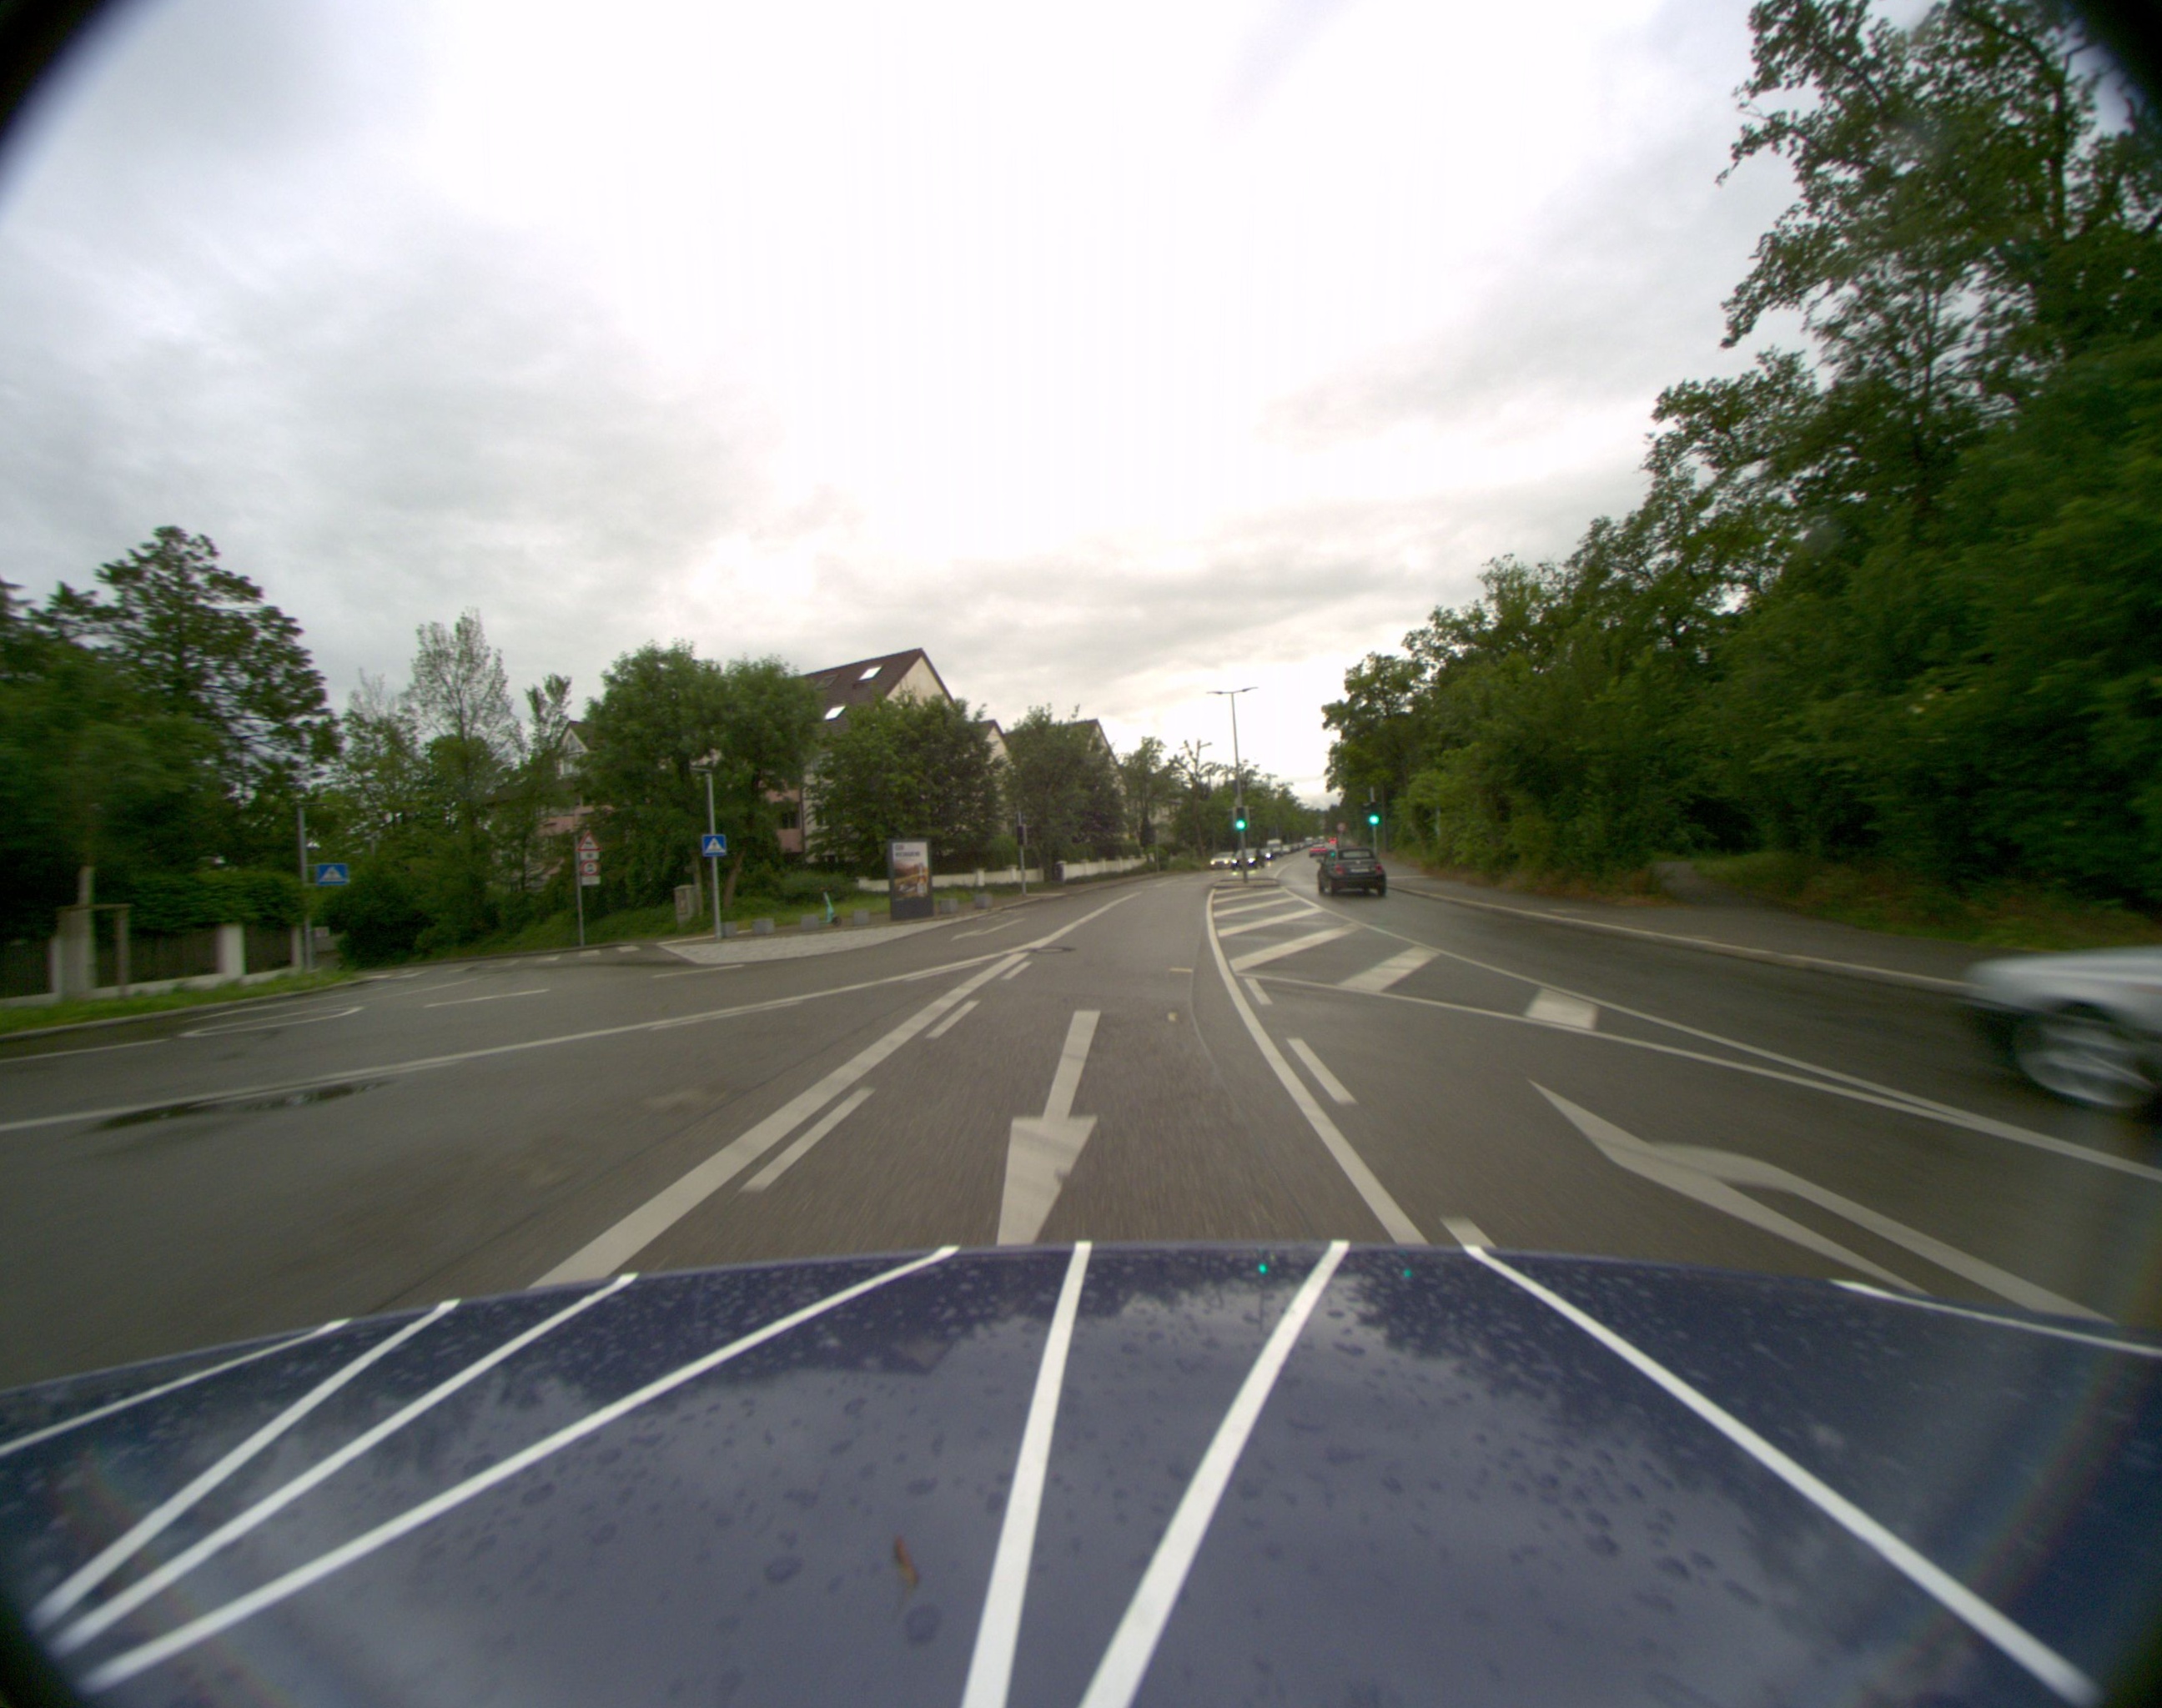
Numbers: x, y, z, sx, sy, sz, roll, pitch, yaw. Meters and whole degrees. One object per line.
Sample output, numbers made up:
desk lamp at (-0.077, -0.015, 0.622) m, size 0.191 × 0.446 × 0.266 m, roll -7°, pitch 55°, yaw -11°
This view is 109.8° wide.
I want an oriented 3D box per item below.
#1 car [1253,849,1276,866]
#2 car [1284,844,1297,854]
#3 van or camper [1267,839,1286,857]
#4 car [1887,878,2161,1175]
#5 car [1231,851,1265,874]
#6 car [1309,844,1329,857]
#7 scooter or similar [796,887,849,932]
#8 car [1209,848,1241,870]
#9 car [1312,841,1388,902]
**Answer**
car at (19.229, 0.377, 79.465) m, size 1.942 × 1.594 × 4.610 m, roll -2°, pitch 0°, yaw 18°
car at (35.260, -0.909, 127.739) m, size 1.942 × 1.594 × 4.610 m, roll -2°, pitch 0°, yaw 18°
van or camper at (28.132, -0.845, 109.051) m, size 1.996 × 2.438 × 4.728 m, roll -4°, pitch 0°, yaw 21°
car at (6.023, 0.843, 2.780) m, size 1.745 × 1.344 × 4.210 m, roll -2°, pitch 0°, yaw 2°
car at (11.881, 0.593, 53.825) m, size 1.942 × 1.446 × 4.609 m, roll -2°, pitch 0°, yaw 17°
car at (27.556, -0.389, 88.084) m, size 1.943 × 1.368 × 4.609 m, roll -2°, pitch 0°, yaw 16°
scooter or similar at (-7.844, 1.675, 23.065) m, size 1.350 × 1.200 × 0.525 m, roll -6°, pitch 0°, yaw 12°
car at (11.729, 0.395, 61.611) m, size 1.942 × 1.594 × 4.610 m, roll -2°, pitch 0°, yaw 18°
car at (8.366, 0.500, 23.902) m, size 1.579 × 1.720 × 3.777 m, roll -2°, pitch 0°, yaw 9°
